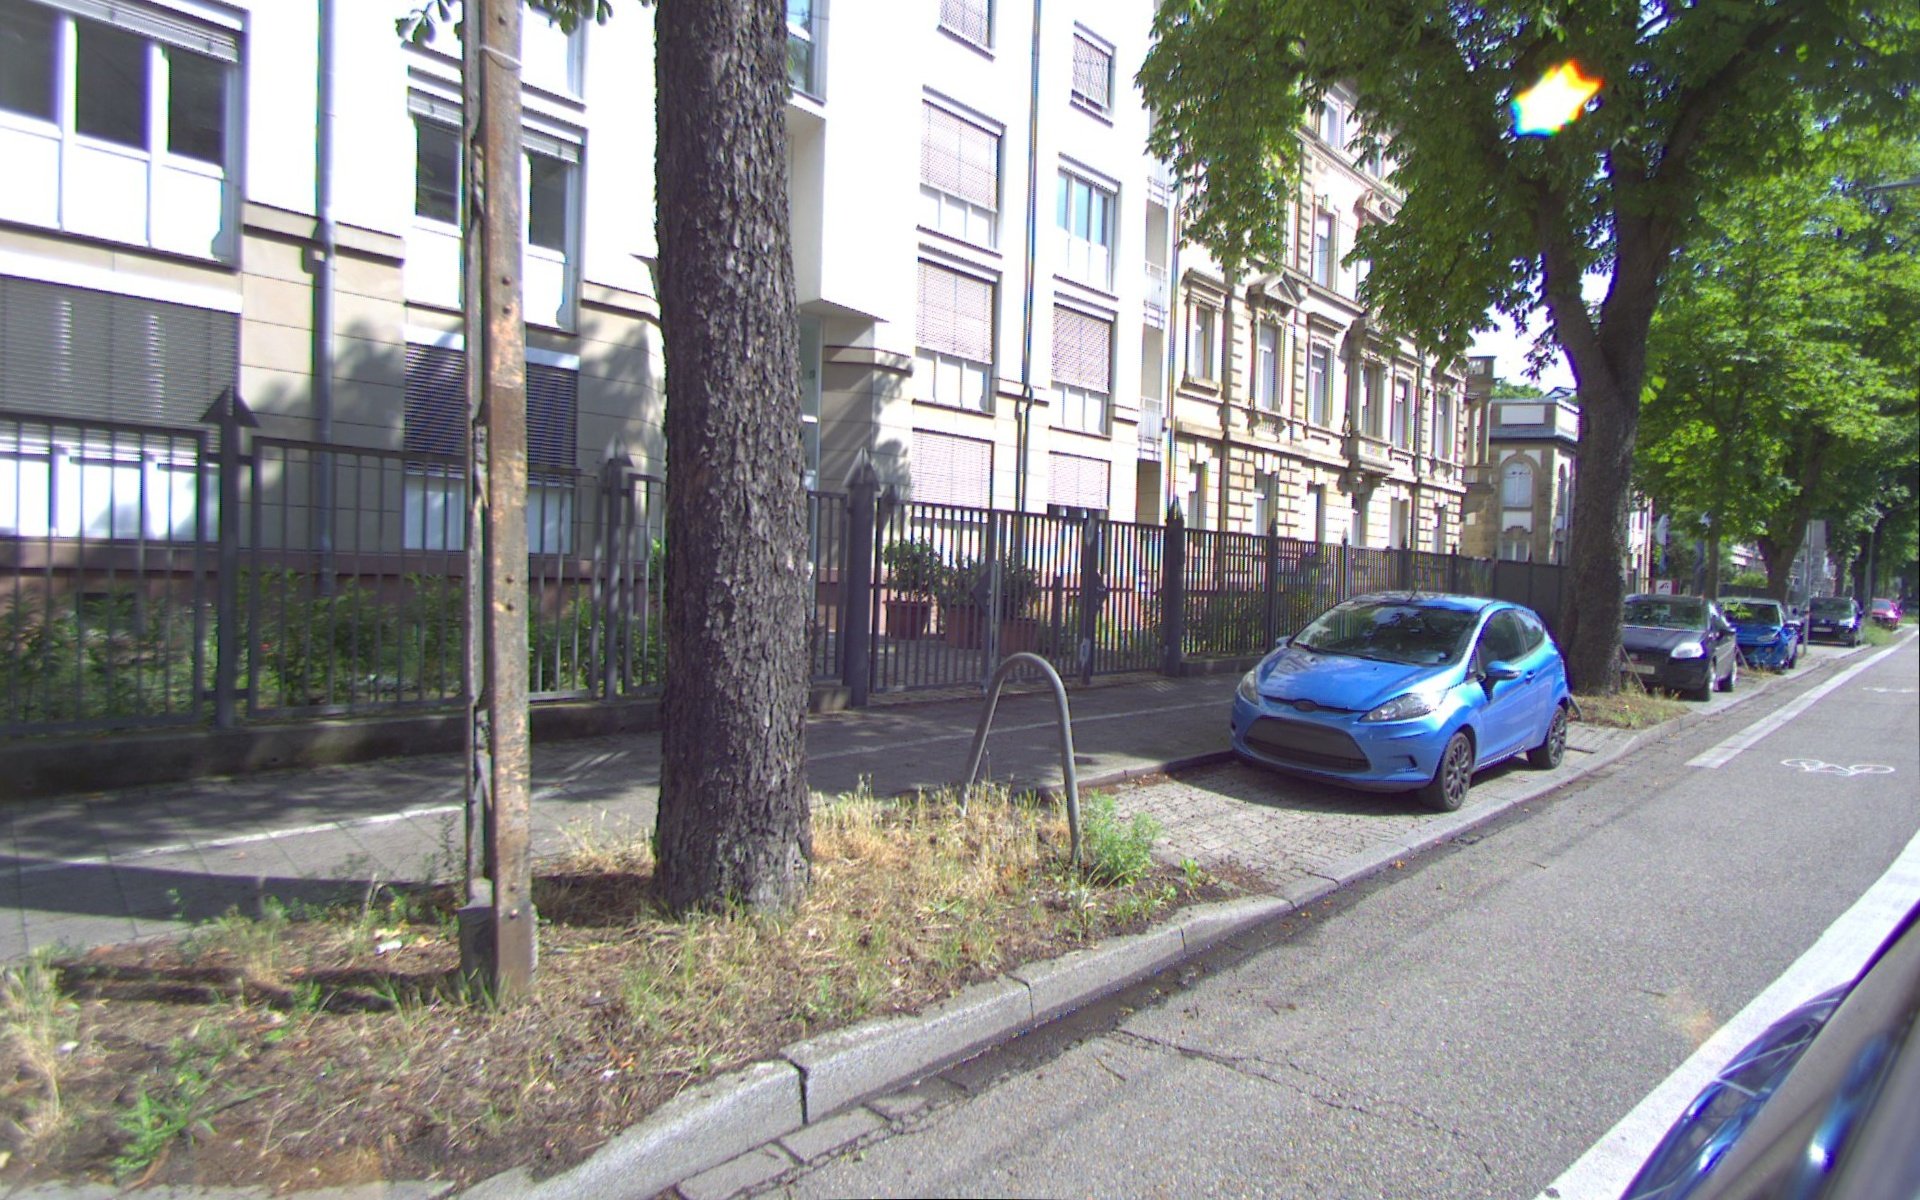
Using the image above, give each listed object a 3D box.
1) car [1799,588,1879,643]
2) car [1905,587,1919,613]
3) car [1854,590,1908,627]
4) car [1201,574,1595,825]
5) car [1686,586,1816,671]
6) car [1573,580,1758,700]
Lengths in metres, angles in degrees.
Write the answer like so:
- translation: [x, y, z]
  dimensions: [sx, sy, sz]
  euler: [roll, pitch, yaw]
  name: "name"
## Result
- translation: [29.611, 0.483, 34.057]
  dimensions: [1.741, 1.592, 3.602]
  euler: [7, 5, 44]
  name: "car"
- translation: [63.434, 0.038, 66.519]
  dimensions: [1.741, 1.592, 3.867]
  euler: [7, 5, 44]
  name: "car"
- translation: [45.595, 0.395, 50.068]
  dimensions: [1.741, 1.592, 3.867]
  euler: [7, 5, 44]
  name: "car"
- translation: [3.706, 0.618, 8.279]
  dimensions: [3.601, 1.493, 1.644]
  euler: [0, 5, -44]
  name: "car"
- translation: [16.602, 0.532, 21.186]
  dimensions: [1.676, 1.493, 3.602]
  euler: [7, 5, 44]
  name: "car"
- translation: [10.858, 0.523, 15.486]
  dimensions: [1.676, 1.493, 3.602]
  euler: [7, 5, 44]
  name: "car"
